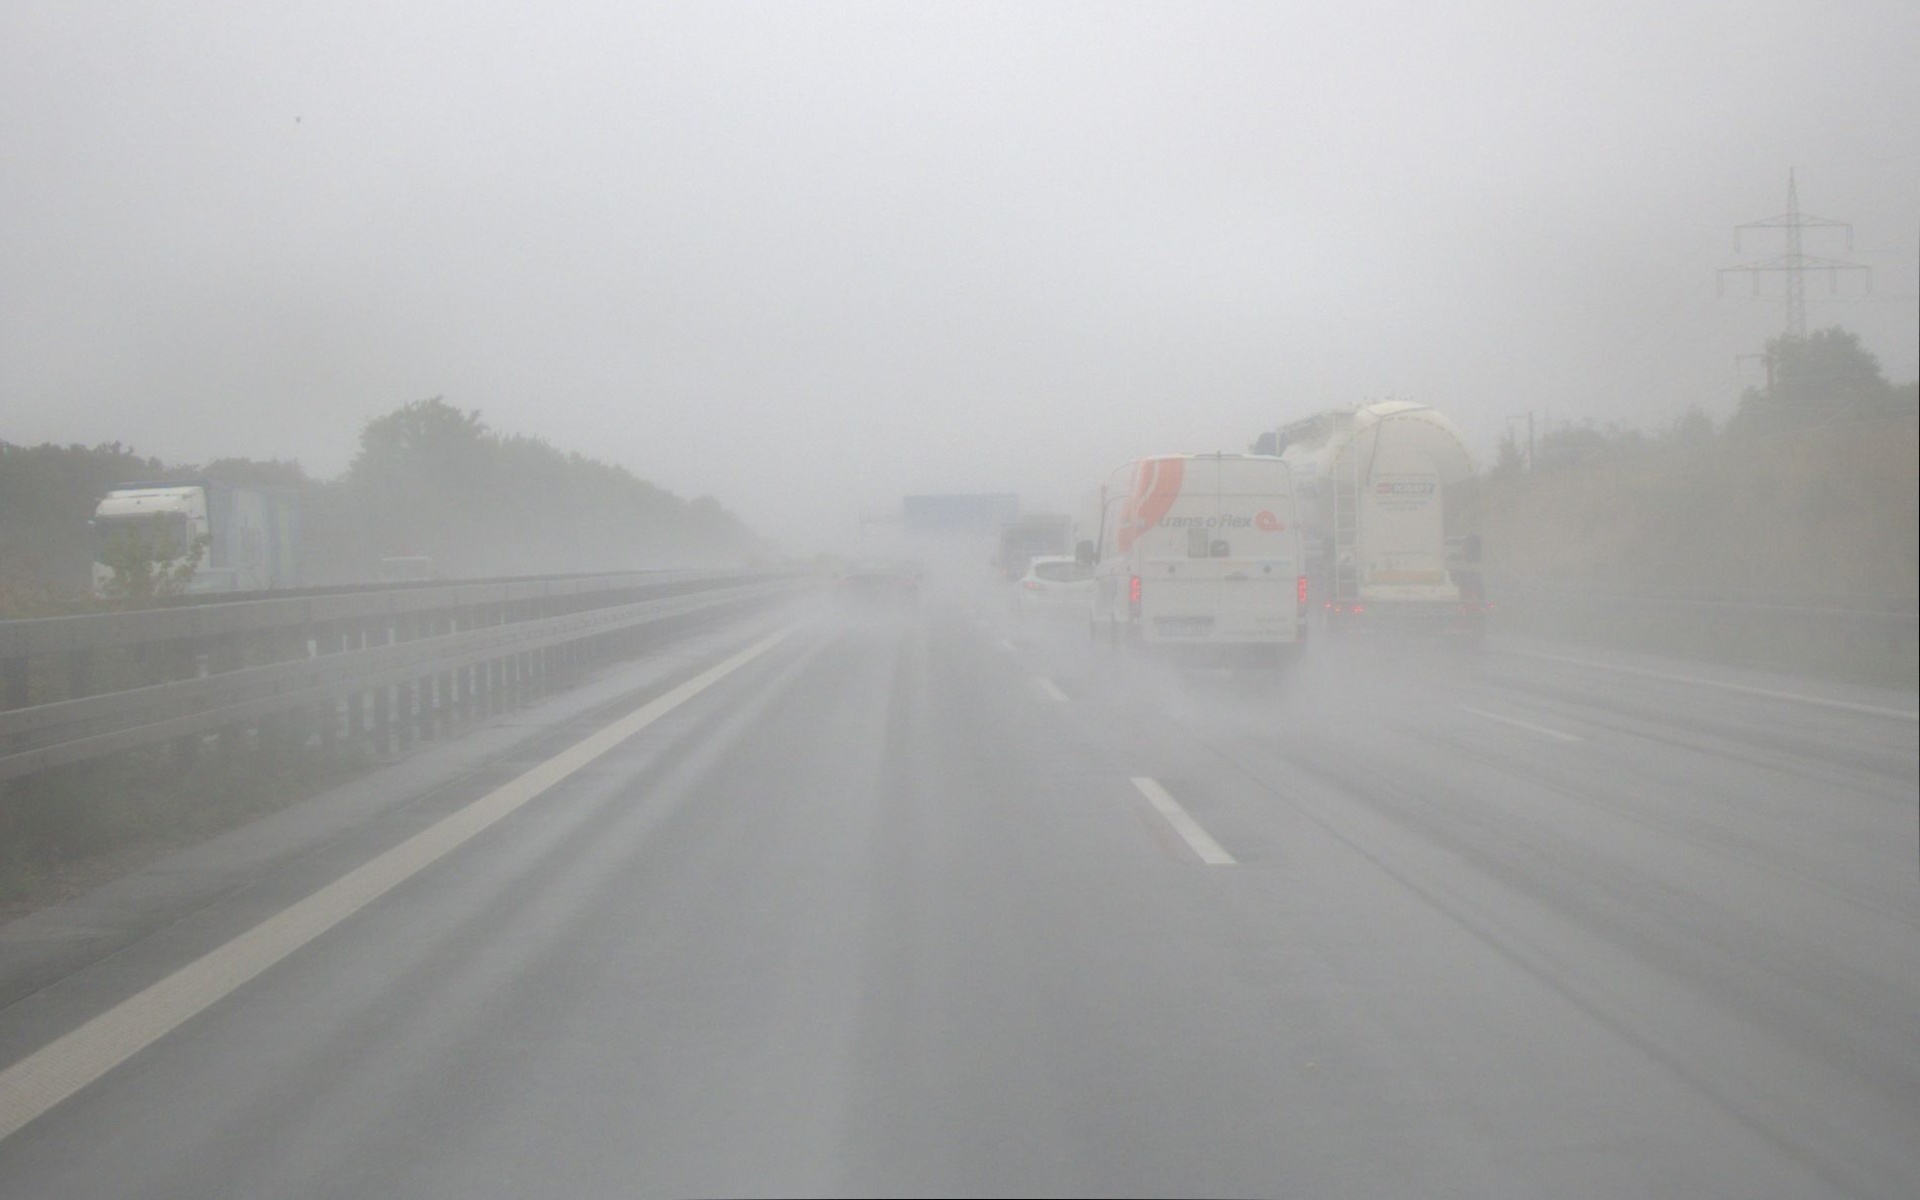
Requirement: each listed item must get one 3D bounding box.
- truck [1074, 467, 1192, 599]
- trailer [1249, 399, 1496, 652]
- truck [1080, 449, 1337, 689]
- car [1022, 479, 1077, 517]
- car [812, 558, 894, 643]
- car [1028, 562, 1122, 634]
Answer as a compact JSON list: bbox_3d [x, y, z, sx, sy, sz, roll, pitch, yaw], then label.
[{"bbox_3d":[6.409,-2.375,130.134,3.039,4.572,16.351,1,0,-2],"label":"truck"},{"bbox_3d":[6.817,-1.219,58.451,2.497,3.869,11.067,1,1,-2],"label":"trailer"},{"bbox_3d":[2.691,-0.356,38.717,2.419,2.484,5.560,1,1,0],"label":"truck"},{"bbox_3d":[4.921,-5.629,190.477,2.788,2.007,4.993,1,1,-1],"label":"car"},{"bbox_3d":[-2.347,-0.004,76.161,1.702,1.812,3.862,1,1,0],"label":"car"},{"bbox_3d":[2.210,-0.061,67.070,1.605,1.333,3.848,1,1,-1],"label":"car"}]
